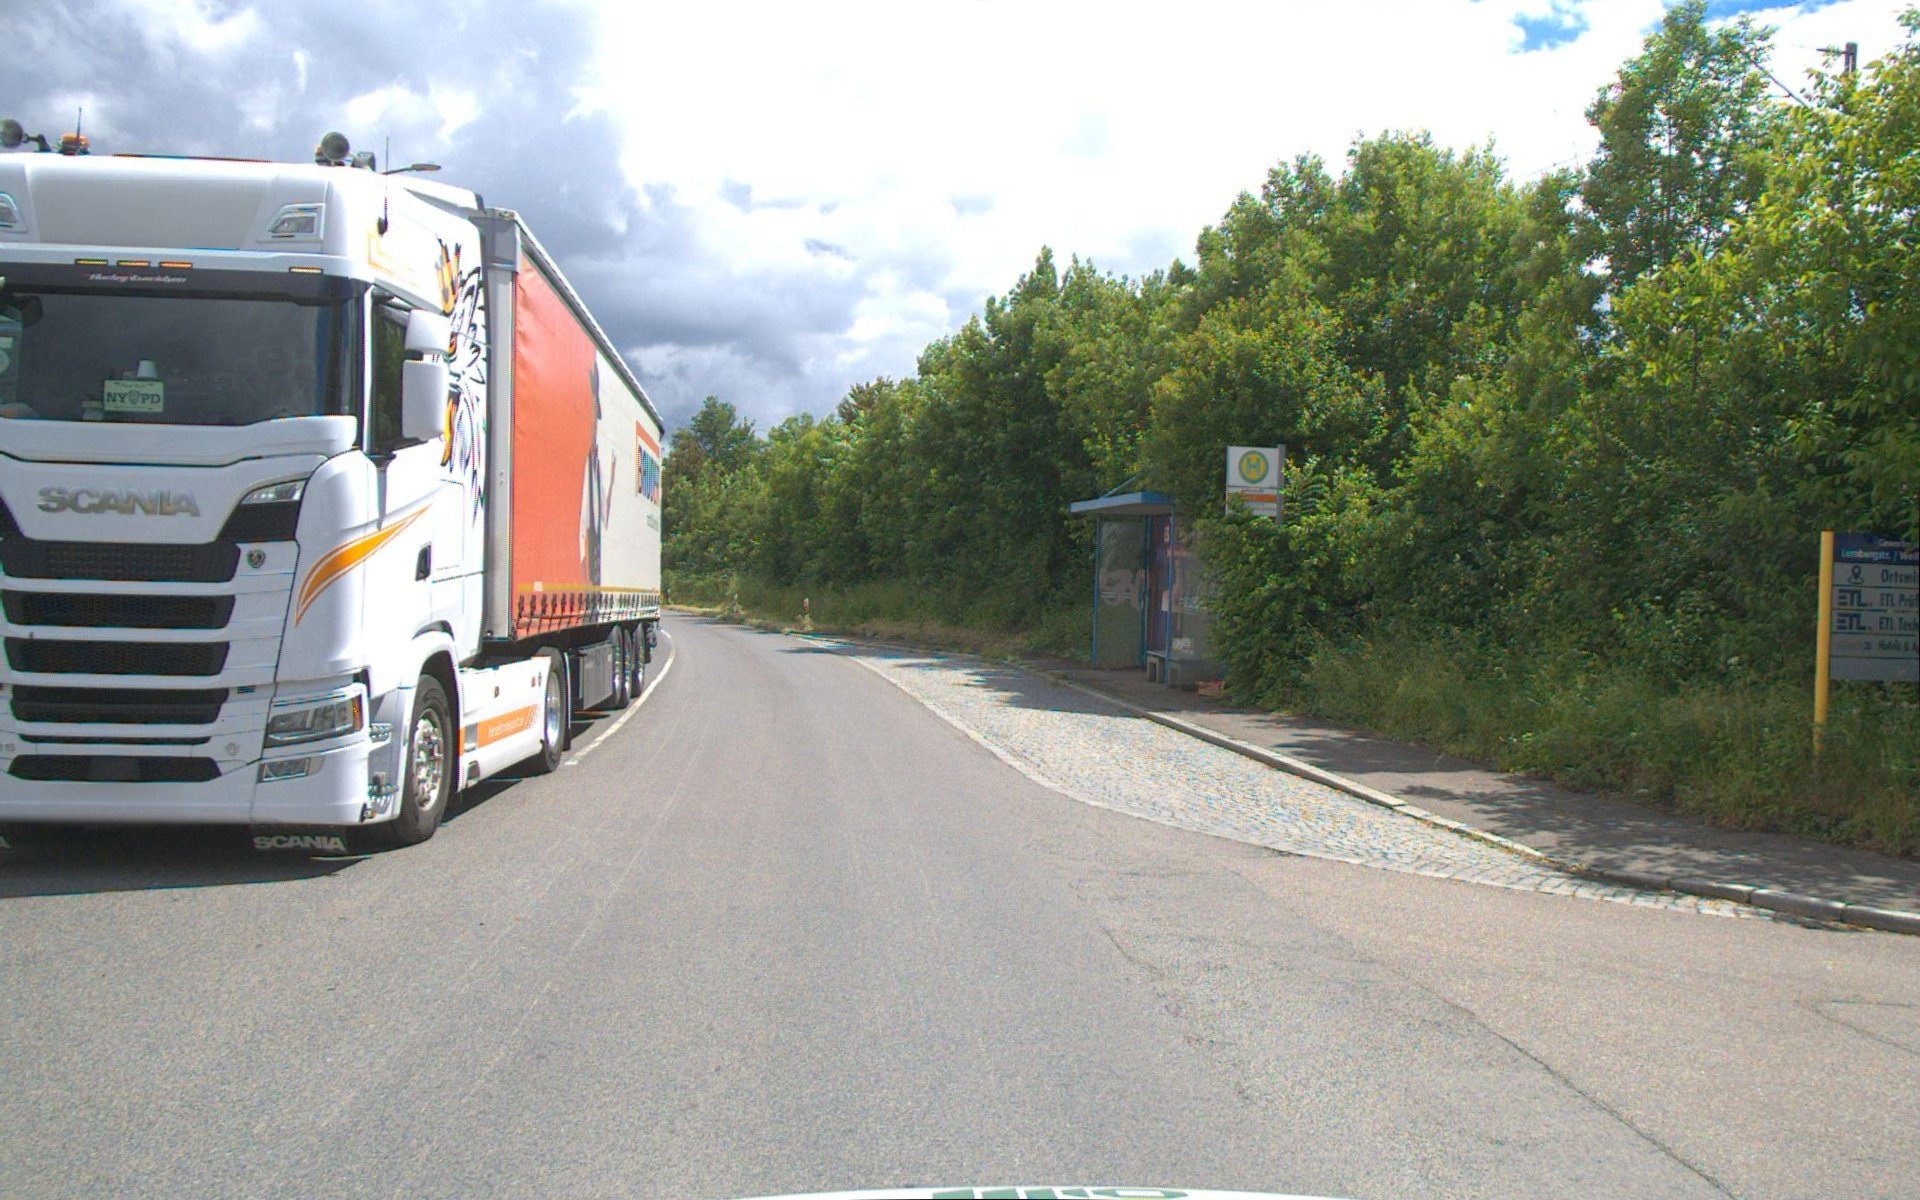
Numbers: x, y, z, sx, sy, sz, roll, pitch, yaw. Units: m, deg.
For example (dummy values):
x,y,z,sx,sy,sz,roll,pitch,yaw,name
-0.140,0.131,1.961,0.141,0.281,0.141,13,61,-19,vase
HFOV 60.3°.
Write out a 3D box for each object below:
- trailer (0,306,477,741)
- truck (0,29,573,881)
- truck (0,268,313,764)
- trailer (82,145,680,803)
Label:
x,y,z,sx,sy,sz,roll,pitch,yaw,name
-9.764,-0.801,23.576,2.745,4.123,15.535,2,0,-6,trailer
-4.292,-0.724,10.755,2.718,4.191,4.980,2,0,-6,truck
-9.035,-0.752,16.947,2.745,4.123,6.492,2,0,-6,truck
-5.067,-0.852,18.500,2.718,4.217,15.331,2,0,-6,trailer
